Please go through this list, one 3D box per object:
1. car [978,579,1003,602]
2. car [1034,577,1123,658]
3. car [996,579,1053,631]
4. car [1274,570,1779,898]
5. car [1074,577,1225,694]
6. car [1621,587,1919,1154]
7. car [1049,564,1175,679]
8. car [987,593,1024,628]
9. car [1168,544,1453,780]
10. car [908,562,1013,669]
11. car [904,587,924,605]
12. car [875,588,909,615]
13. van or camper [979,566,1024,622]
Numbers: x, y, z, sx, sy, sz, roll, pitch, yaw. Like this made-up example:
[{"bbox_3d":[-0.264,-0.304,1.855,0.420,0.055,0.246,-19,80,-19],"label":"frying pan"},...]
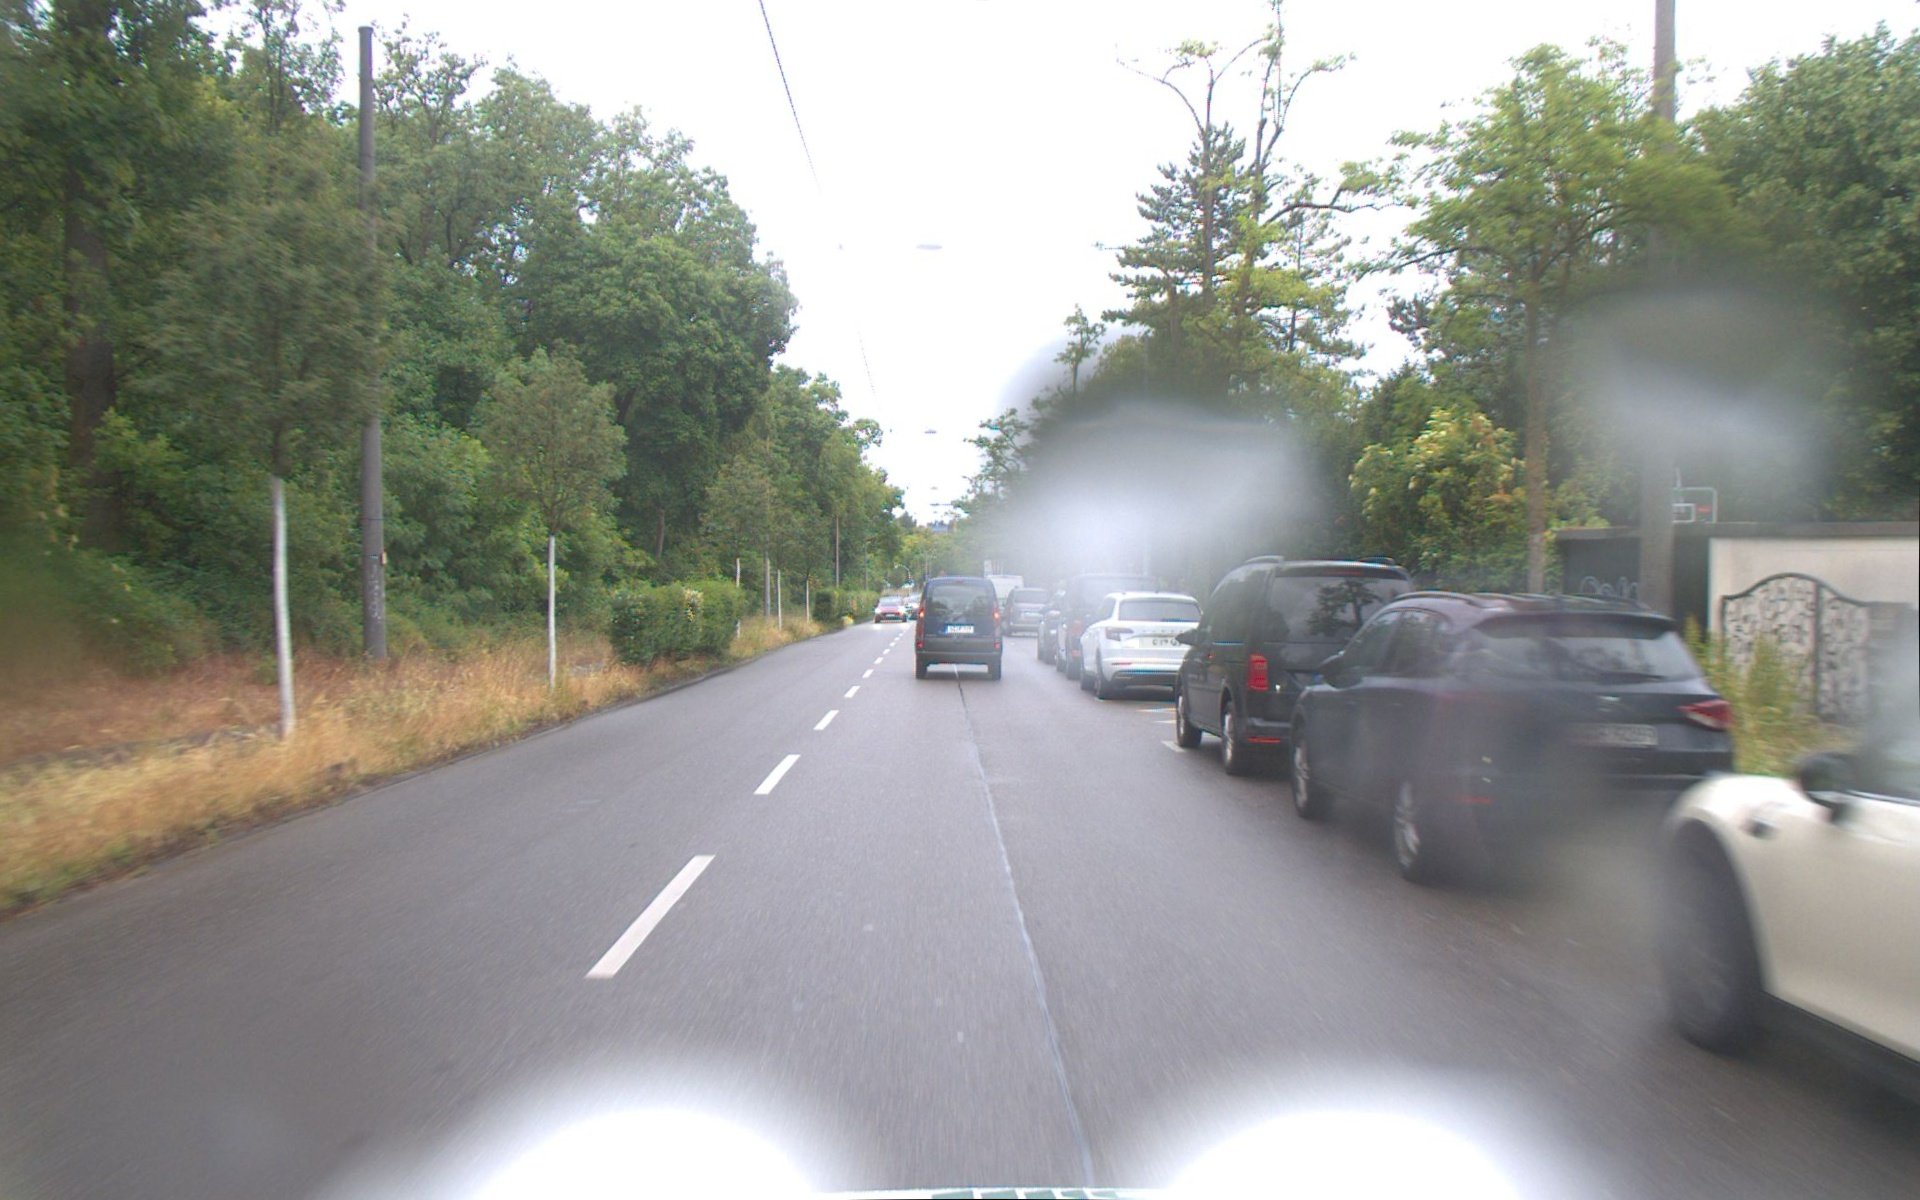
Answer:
[{"bbox_3d":[2.133,-0.657,116.387,1.686,1.532,4.050,1,1,0],"label":"car"},{"bbox_3d":[2.744,0.367,39.031,1.737,1.753,4.326,1,1,0],"label":"car"},{"bbox_3d":[2.408,0.158,62.663,1.778,1.845,4.281,1,1,-2],"label":"car"},{"bbox_3d":[3.182,0.629,10.195,1.644,1.582,4.075,1,1,-1],"label":"car"},{"bbox_3d":[2.893,0.481,26.103,1.768,1.641,4.285,1,1,-1],"label":"car"},{"bbox_3d":[3.421,0.749,4.477,1.702,1.490,3.724,1,1,-1],"label":"car"},{"bbox_3d":[2.904,0.356,32.572,1.953,2.048,4.888,1,1,0],"label":"car"},{"bbox_3d":[2.110,0.453,75.475,1.592,1.489,3.809,1,1,2],"label":"car"},{"bbox_3d":[3.112,0.469,15.541,1.695,1.879,4.230,1,1,-1],"label":"car"},{"bbox_3d":[-0.039,0.249,31.281,1.732,1.862,3.540,1,1,-4],"label":"car"},{"bbox_3d":[-4.158,-0.332,148.599,1.747,1.505,3.966,-1,-1,-1],"label":"car"},{"bbox_3d":[-3.896,0.073,95.473,1.822,1.506,4.156,-1,0,0],"label":"car"},{"bbox_3d":[2.056,-0.344,83.527,2.036,2.697,5.345,1,1,-1],"label":"van or camper"}]
